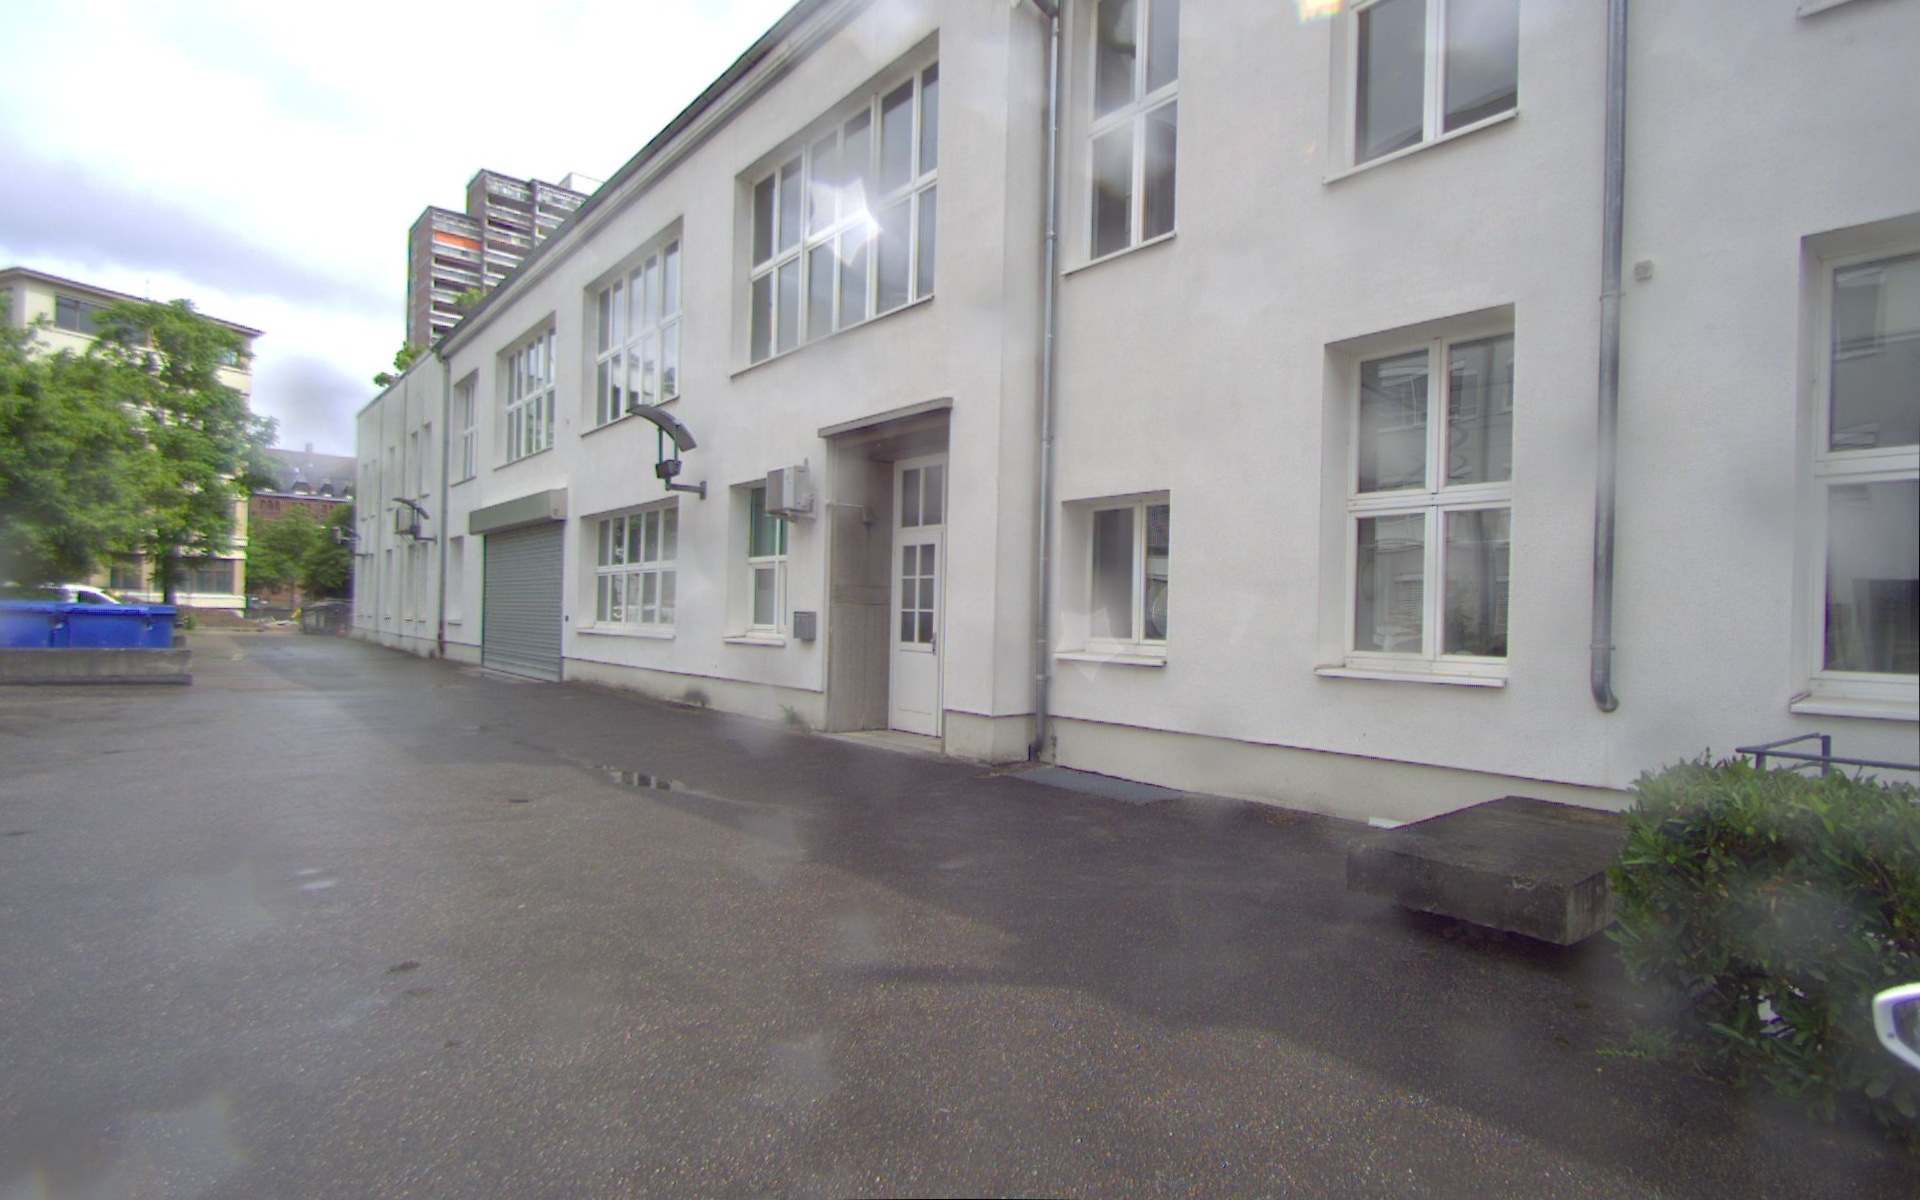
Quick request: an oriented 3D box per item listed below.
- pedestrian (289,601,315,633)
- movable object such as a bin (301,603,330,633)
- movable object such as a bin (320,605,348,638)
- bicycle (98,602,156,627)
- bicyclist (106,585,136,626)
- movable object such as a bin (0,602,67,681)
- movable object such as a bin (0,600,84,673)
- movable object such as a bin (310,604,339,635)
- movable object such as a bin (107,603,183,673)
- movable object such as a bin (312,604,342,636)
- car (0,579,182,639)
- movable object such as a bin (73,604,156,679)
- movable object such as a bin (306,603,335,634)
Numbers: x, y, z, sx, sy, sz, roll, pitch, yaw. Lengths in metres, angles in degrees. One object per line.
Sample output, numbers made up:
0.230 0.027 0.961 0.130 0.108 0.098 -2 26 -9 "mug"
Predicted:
-38.087 0.966 58.154 0.846 1.838 0.861 1 0 9 "pedestrian"
-30.803 0.848 47.997 1.056 1.374 1.252 1 0 -36 "movable object such as a bin"
-26.992 0.928 43.303 0.969 1.374 0.910 1 0 -36 "movable object such as a bin"
-34.971 0.594 42.177 0.657 0.994 1.879 1 0 10 "bicycle"
-35.012 0.222 41.931 0.654 1.672 0.651 1 0 10 "bicyclist"
-16.916 0.730 18.081 1.121 1.346 1.196 1 0 -36 "movable object such as a bin"
-17.824 0.689 19.475 1.121 1.346 1.196 1 0 -36 "movable object such as a bin"
-28.936 0.888 45.745 1.053 1.374 1.206 1 0 -36 "movable object such as a bin"
-16.652 0.761 20.556 1.121 1.346 1.196 1 0 -36 "movable object such as a bin"
-28.115 0.904 44.597 1.036 1.374 1.195 1 0 -36 "movable object such as a bin"
-27.190 0.303 31.487 4.291 1.750 1.706 1 0 -35 "car"
-15.883 0.765 18.915 1.085 1.343 1.196 1 0 -36 "movable object such as a bin"
-29.900 0.867 46.976 1.056 1.374 1.252 1 0 -36 "movable object such as a bin"
